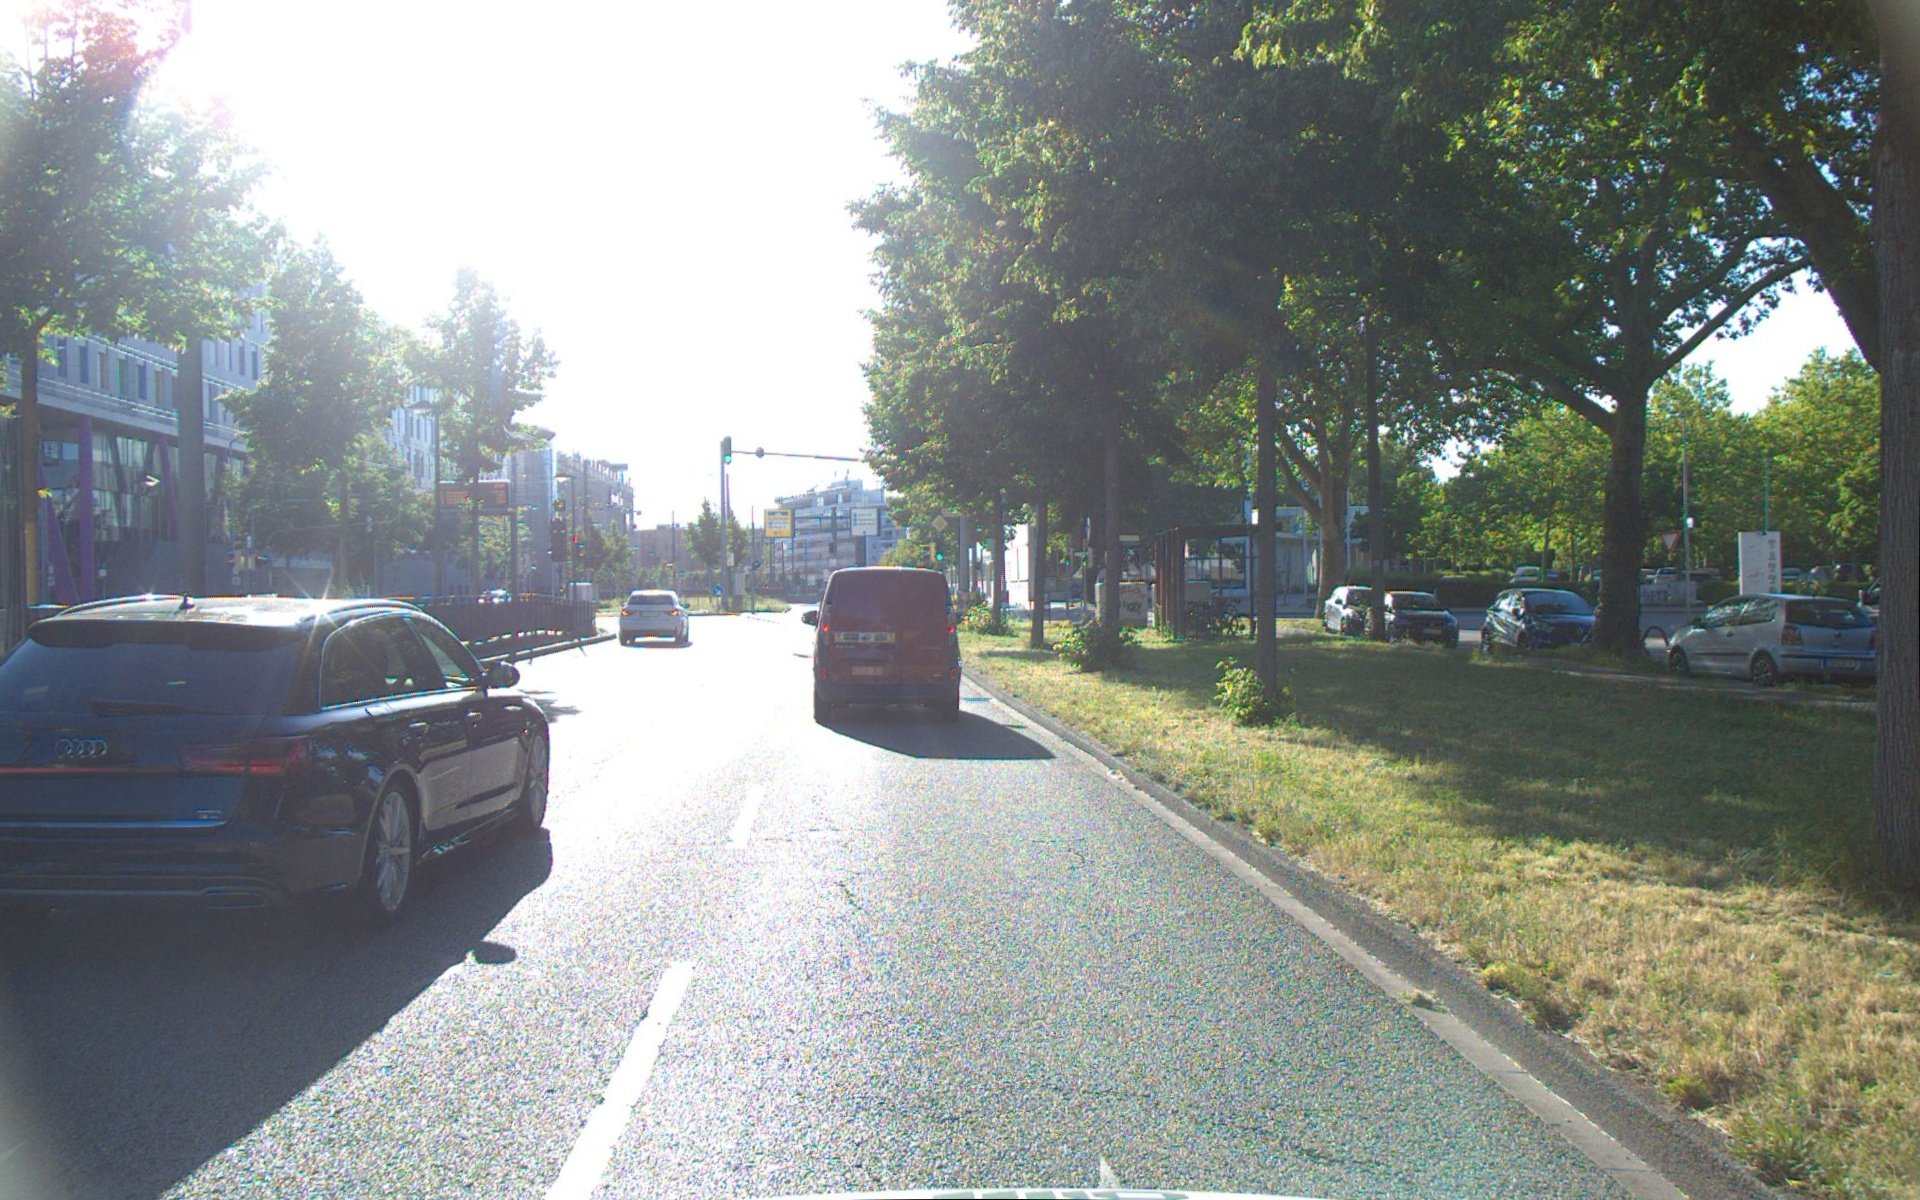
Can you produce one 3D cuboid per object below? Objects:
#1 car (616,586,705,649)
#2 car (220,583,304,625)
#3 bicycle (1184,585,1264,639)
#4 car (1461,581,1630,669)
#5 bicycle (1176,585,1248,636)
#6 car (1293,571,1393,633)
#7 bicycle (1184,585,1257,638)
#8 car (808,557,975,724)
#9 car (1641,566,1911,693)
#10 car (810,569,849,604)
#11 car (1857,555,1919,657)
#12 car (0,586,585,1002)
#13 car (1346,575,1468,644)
[{"bbox_3d":[-8.222,0.464,45.776,1.954,1.646,3.997,1,0,-4],"label":"car"},{"bbox_3d":[-30.891,0.164,73.321,1.953,1.795,4.000,1,0,0],"label":"car"},{"bbox_3d":[6.428,0.282,40.335,1.879,1.290,0.479,0,0,-3],"label":"bicycle"},{"bbox_3d":[12.126,0.495,34.544,1.834,1.713,3.996,1,0,-5],"label":"car"},{"bbox_3d":[6.452,0.253,42.356,1.743,1.290,0.479,0,0,-3],"label":"bicycle"},{"bbox_3d":[11.129,0.050,48.314,1.834,1.713,3.997,1,0,-3],"label":"car"},{"bbox_3d":[6.488,0.283,41.206,1.743,1.290,0.479,1,0,-3],"label":"bicycle"},{"bbox_3d":[-0.953,0.467,20.704,1.774,1.870,3.994,1,0,-7],"label":"car"},{"bbox_3d":[12.226,0.408,25.092,1.835,1.713,3.996,-2,0,-5],"label":"car"},{"bbox_3d":[-7.993,-0.828,101.864,2.224,2.049,4.707,0,0,-3],"label":"car"},{"bbox_3d":[20.186,0.091,33.417,1.952,2.049,4.001,-2,0,1],"label":"car"},{"bbox_3d":[-3.405,0.692,8.567,1.913,1.506,5.083,1,0,-2],"label":"car"},{"bbox_3d":[11.775,0.244,43.821,1.834,1.713,3.996,1,0,-5],"label":"car"}]
